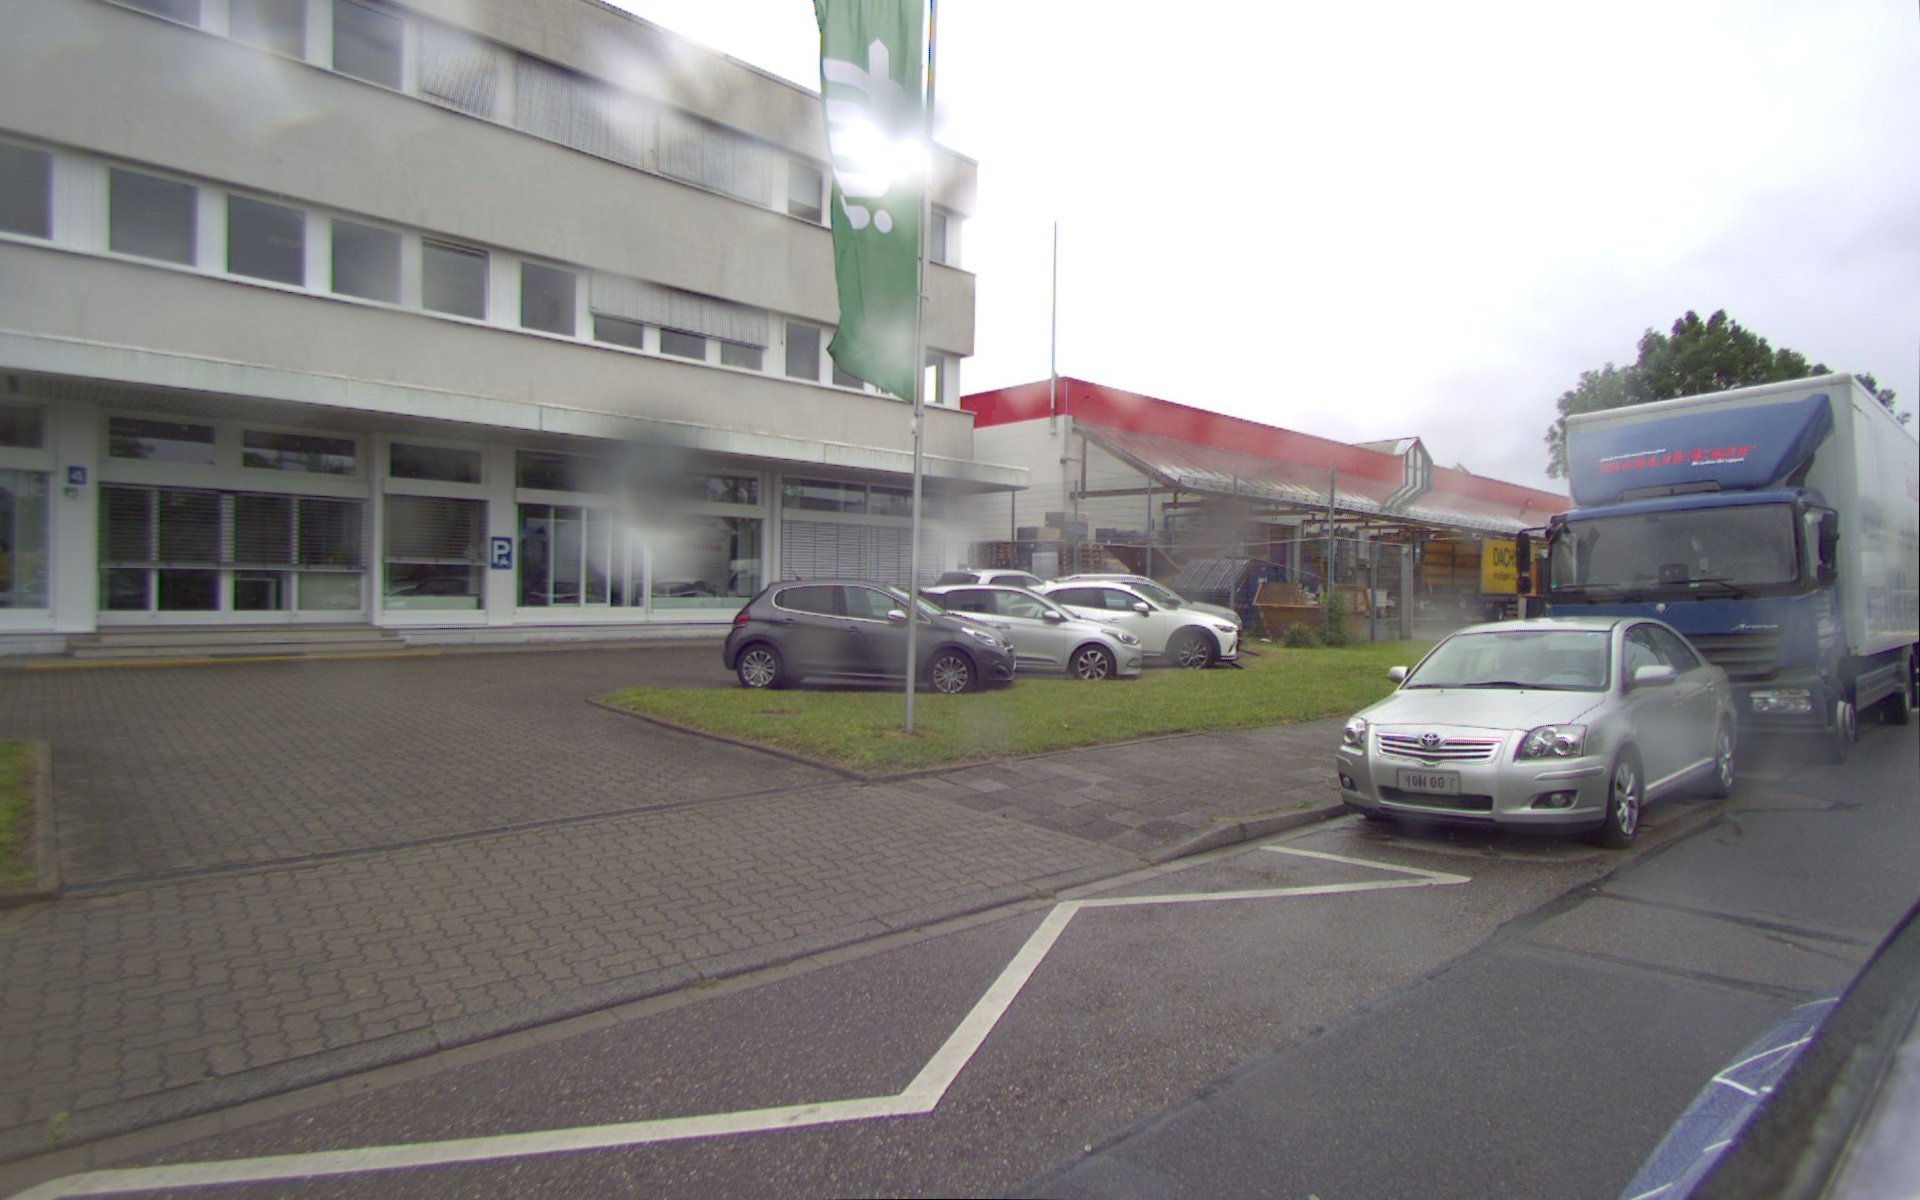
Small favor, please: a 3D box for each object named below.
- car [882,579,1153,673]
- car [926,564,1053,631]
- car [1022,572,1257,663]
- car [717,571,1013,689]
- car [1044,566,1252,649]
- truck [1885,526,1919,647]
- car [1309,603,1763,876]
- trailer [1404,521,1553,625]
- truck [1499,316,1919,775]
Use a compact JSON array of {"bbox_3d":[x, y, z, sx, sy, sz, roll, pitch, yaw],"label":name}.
[{"bbox_3d":[0.872,0.359,15.635,3.928,1.302,1.705,1,1,4],"label":"car"},{"bbox_3d":[0.708,-0.081,23.316,2.700,1.443,1.400,0,1,-42],"label":"car"},{"bbox_3d":[3.081,0.280,18.085,3.928,1.488,1.774,1,1,4],"label":"car"},{"bbox_3d":[-1.177,0.356,13.553,3.702,1.410,1.704,1,1,6],"label":"car"},{"bbox_3d":[3.731,0.129,20.647,3.928,1.546,1.872,1,1,4],"label":"car"},{"bbox_3d":[33.151,-0.441,33.680,7.872,3.740,2.674,0,-2,-42],"label":"truck"},{"bbox_3d":[4.586,0.784,7.760,4.271,1.459,1.800,0,1,-42],"label":"car"},{"bbox_3d":[23.733,-1.147,46.023,9.311,4.296,2.970,0,1,-43],"label":"trailer"},{"bbox_3d":[9.972,-0.444,12.547,9.138,3.838,2.744,0,-2,-42],"label":"truck"}]
